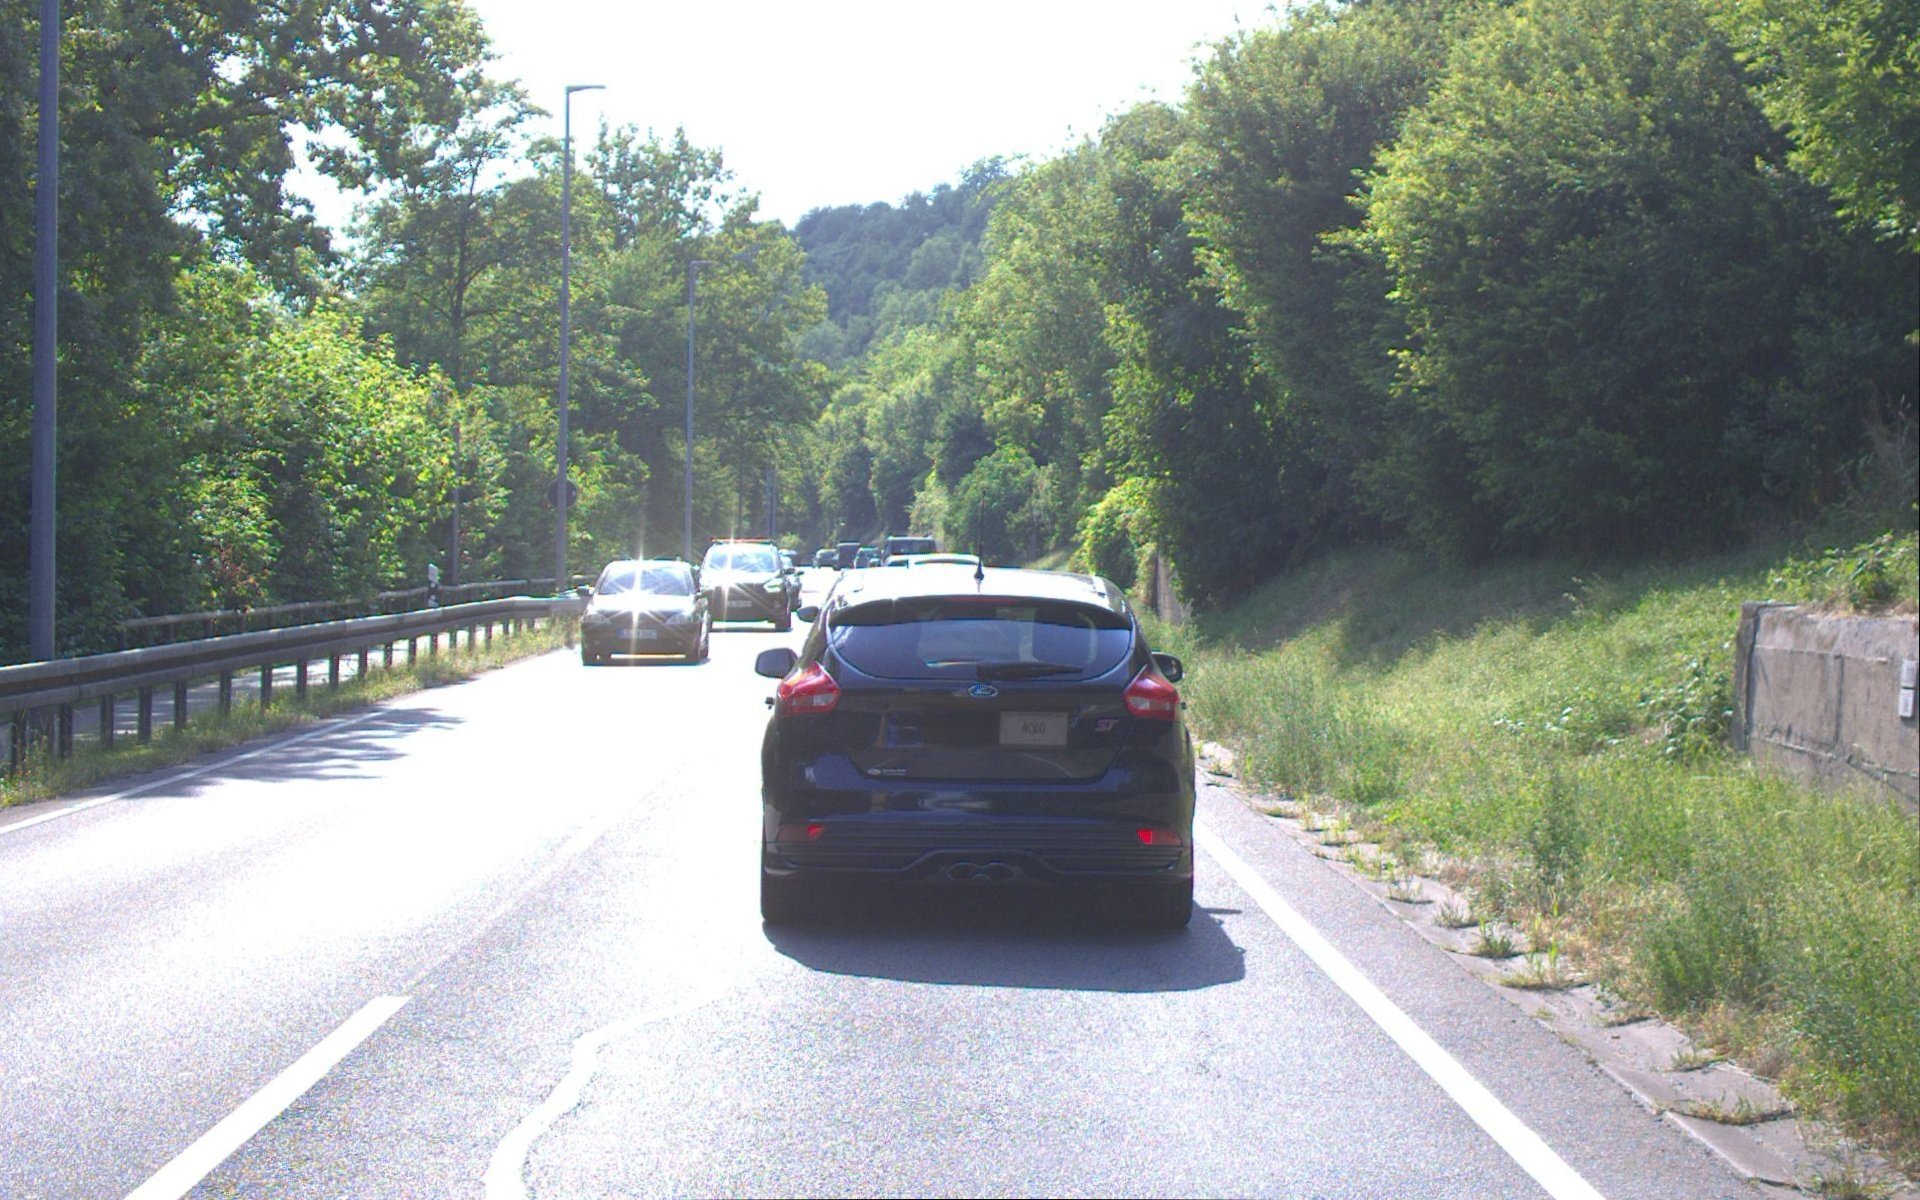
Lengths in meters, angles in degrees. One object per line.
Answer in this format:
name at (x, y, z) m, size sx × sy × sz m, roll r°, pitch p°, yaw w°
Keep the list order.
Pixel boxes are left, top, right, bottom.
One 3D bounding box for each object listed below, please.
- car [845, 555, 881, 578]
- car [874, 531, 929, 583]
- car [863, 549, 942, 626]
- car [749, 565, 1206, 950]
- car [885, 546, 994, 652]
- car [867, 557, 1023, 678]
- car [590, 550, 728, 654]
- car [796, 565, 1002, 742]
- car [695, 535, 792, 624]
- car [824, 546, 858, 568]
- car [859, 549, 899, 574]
car at (-6.532, -2.241, 232.212) m, size 1.993 × 1.514 × 4.001 m, roll 0°, pitch 1°, yaw -8°
car at (-2.024, -1.498, 118.558) m, size 1.863 × 1.774 × 4.000 m, roll 0°, pitch 1°, yaw -2°
car at (-1.207, -0.291, 73.366) m, size 1.631 × 1.590 × 4.000 m, roll 0°, pitch 1°, yaw -1°
car at (0.047, 0.586, 15.224) m, size 1.739 × 1.451 × 4.000 m, roll 1°, pitch 1°, yaw -1°
car at (-0.328, -0.046, 53.666) m, size 1.631 × 1.590 × 4.000 m, roll 0°, pitch 1°, yaw -1°
car at (-0.192, 0.179, 41.748) m, size 1.804 × 1.387 × 4.000 m, roll 0°, pitch 1°, yaw -1°
car at (-4.333, -0.003, 50.004) m, size 1.681 × 1.437 × 4.000 m, roll 0°, pitch 1°, yaw 0°
car at (-0.473, 0.416, 29.892) m, size 1.661 × 1.413 × 4.000 m, roll 0°, pitch 1°, yaw 1°
car at (-4.298, -0.433, 68.661) m, size 1.748 × 1.712 × 4.221 m, roll 0°, pitch 1°, yaw -1°
car at (-8.460, -3.062, 244.863) m, size 1.993 × 1.514 × 4.001 m, roll 0°, pitch 1°, yaw -8°
car at (-4.965, -2.366, 211.243) m, size 1.993 × 1.514 × 4.001 m, roll 0°, pitch 1°, yaw -8°
